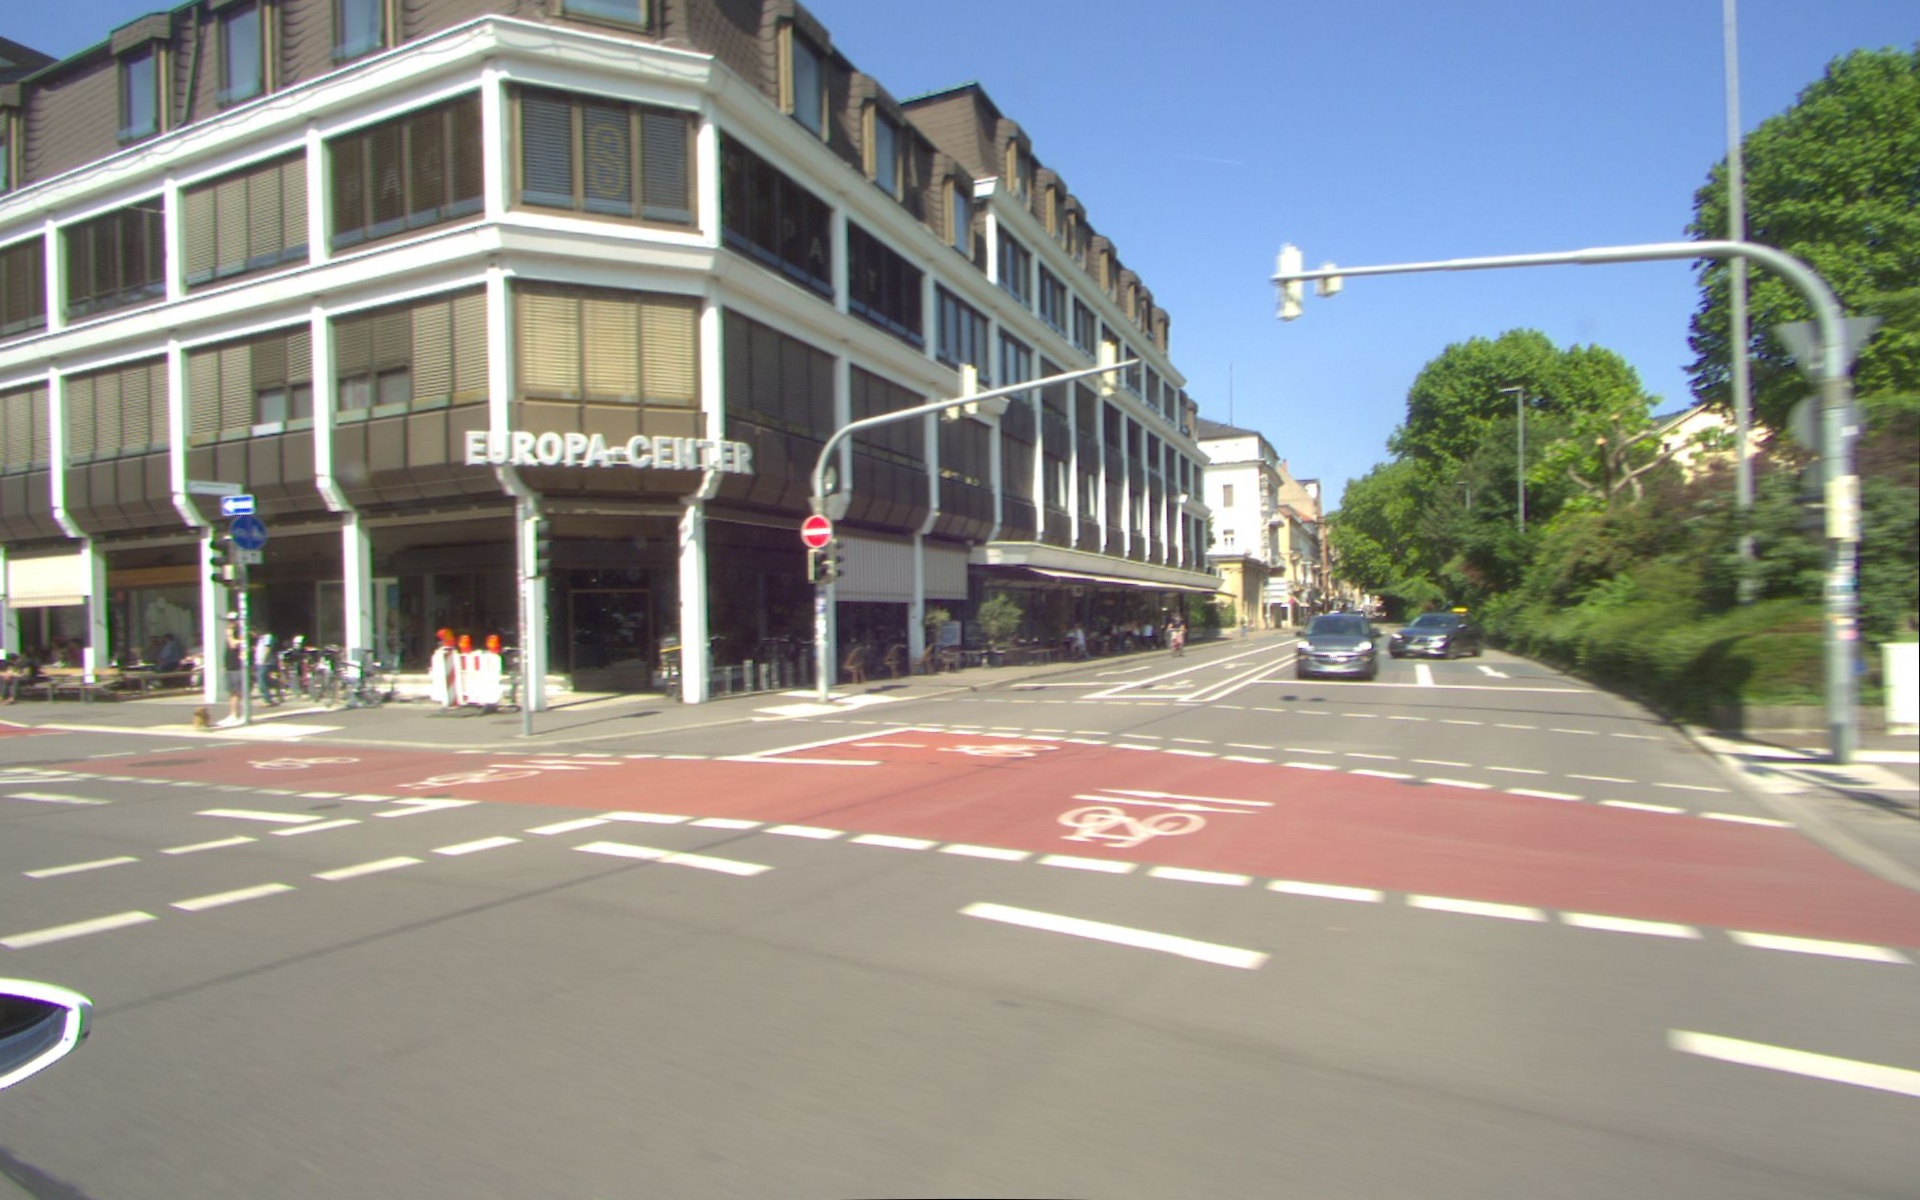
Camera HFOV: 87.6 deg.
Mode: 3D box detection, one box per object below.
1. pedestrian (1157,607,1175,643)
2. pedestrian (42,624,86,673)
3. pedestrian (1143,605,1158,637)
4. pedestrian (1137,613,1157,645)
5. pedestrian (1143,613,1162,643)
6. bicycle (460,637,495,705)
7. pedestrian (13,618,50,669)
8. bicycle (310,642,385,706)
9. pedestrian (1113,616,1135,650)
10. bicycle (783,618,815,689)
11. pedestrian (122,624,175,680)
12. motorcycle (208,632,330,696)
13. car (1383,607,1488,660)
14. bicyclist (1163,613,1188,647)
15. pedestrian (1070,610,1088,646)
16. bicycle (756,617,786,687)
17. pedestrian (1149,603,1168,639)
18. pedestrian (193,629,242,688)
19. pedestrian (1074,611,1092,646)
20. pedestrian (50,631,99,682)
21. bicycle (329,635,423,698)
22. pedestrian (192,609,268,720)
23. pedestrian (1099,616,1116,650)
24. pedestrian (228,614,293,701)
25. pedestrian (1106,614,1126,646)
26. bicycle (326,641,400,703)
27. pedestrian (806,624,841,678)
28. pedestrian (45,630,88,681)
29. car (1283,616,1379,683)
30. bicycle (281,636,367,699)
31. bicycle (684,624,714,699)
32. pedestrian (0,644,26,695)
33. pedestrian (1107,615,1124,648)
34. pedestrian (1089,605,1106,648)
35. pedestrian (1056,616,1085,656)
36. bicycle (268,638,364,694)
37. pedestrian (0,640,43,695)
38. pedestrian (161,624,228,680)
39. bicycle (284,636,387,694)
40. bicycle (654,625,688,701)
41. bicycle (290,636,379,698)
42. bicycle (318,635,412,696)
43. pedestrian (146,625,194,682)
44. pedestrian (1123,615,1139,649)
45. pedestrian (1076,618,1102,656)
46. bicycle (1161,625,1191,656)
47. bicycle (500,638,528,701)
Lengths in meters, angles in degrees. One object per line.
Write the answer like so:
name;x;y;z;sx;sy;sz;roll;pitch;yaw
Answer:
pedestrian;9.355;1.138;45.515;0.606;1.633;0.871;-1;0;24
pedestrian;-25.456;1.372;28.467;0.575;1.385;0.744;-1;0;24
pedestrian;10.088;1.129;53.105;0.611;1.667;0.715;-1;0;24
pedestrian;8.588;1.330;45.885;0.745;1.411;0.715;-1;0;24
pedestrian;9.266;1.360;48.215;0.745;1.411;0.715;-1;0;24
bicycle;-9.127;1.328;18.975;0.370;1.081;1.466;-2;5;-18
pedestrian;-25.807;1.209;27.838;0.678;1.385;0.535;-1;0;25
bicycle;-11.701;1.392;19.110;2.211;1.135;0.276;-1;0;33
pedestrian;6.951;1.375;42.349;0.745;1.411;0.715;-1;0;24
bicycle;-3.533;1.131;21.889;0.521;1.441;1.964;-1;1;-14
pedestrian;-21.217;1.355;26.188;0.685;1.414;0.813;-2;0;23
motorcycle;-15.658;1.420;22.720;2.216;1.307;0.942;-2;-1;-38
car;15.702;1.074;32.938;2.040;1.604;4.711;-1;-1;39
bicyclist;8.564;1.191;39.820;0.769;1.325;0.941;-2;0;23
pedestrian;4.746;1.113;39.940;0.564;1.411;0.567;-1;0;24
bicycle;-4.181;1.108;22.083;0.521;1.441;1.964;-1;1;-14
pedestrian;9.844;1.050;49.653;0.745;1.751;0.795;-1;0;24
pedestrian;-18.550;1.456;25.031;0.685;1.414;0.711;-2;0;24
pedestrian;4.958;1.137;40.458;0.564;1.411;0.567;-1;0;24
pedestrian;-24.638;1.561;27.865;0.528;1.385;0.877;-1;0;23
bicycle;-11.913;1.336;20.473;0.273;1.135;1.713;-1;1;31
pedestrian;-12.625;1.105;17.327;0.687;1.859;0.830;-3;0;33
pedestrian;6.301;1.408;42.663;0.564;1.411;0.567;-1;0;24
pedestrian;-14.059;1.150;20.136;0.687;1.685;0.830;-2;0;33
pedestrian;6.978;1.329;44.770;0.745;1.411;0.715;-1;0;24
bicycle;-11.613;1.376;19.455;2.211;1.135;0.276;-1;0;33
pedestrian;-3.560;1.322;26.090;0.814;1.352;0.971;-1;0;-11
pedestrian;-25.043;1.557;28.079;0.470;1.385;0.761;-1;0;23
car;8.791;1.087;23.520;1.829;1.381;4.084;0;0;25
bicycle;-13.173;1.369;20.770;0.273;1.222;1.543;-1;0;31
bicycle;-5.090;1.160;19.575;0.521;1.334;1.856;-1;1;-14
pedestrian;-22.821;1.652;23.832;0.687;1.188;0.709;-2;0;33
pedestrian;6.701;1.344;43.197;0.564;1.411;0.567;-1;0;24
pedestrian;5.778;1.106;41.938;0.577;1.780;0.484;-1;0;24
pedestrian;3.949;1.289;35.735;0.745;1.411;0.926;-1;0;24
bicycle;-14.041;1.408;21.914;0.272;1.111;2.242;-1;-1;11
pedestrian;-22.072;1.582;23.448;0.687;1.232;0.709;-2;0;33
pedestrian;-19.420;1.311;25.413;1.087;1.368;0.896;-2;0;24
bicycle;-13.475;1.373;21.688;0.272;1.135;2.240;-1;-1;17
bicycle;-5.577;1.179;19.391;0.521;1.334;1.964;-1;1;-14
bicycle;-12.847;1.358;20.612;0.273;1.135;1.567;-1;1;31
bicycle;-12.248;1.332;20.675;0.273;1.135;1.713;-1;1;31
pedestrian;-20.436;1.373;25.899;0.685;1.414;0.711;-2;0;24
pedestrian;7.353;1.370;43.017;0.535;1.411;0.553;-1;0;24
pedestrian;4.827;1.380;37.412;0.745;1.411;0.926;-1;0;24
bicycle;8.596;1.593;39.859;0.752;1.135;2.116;-2;-1;23
bicycle;-8.305;1.277;18.631;0.305;1.079;1.463;-2;1;-30
